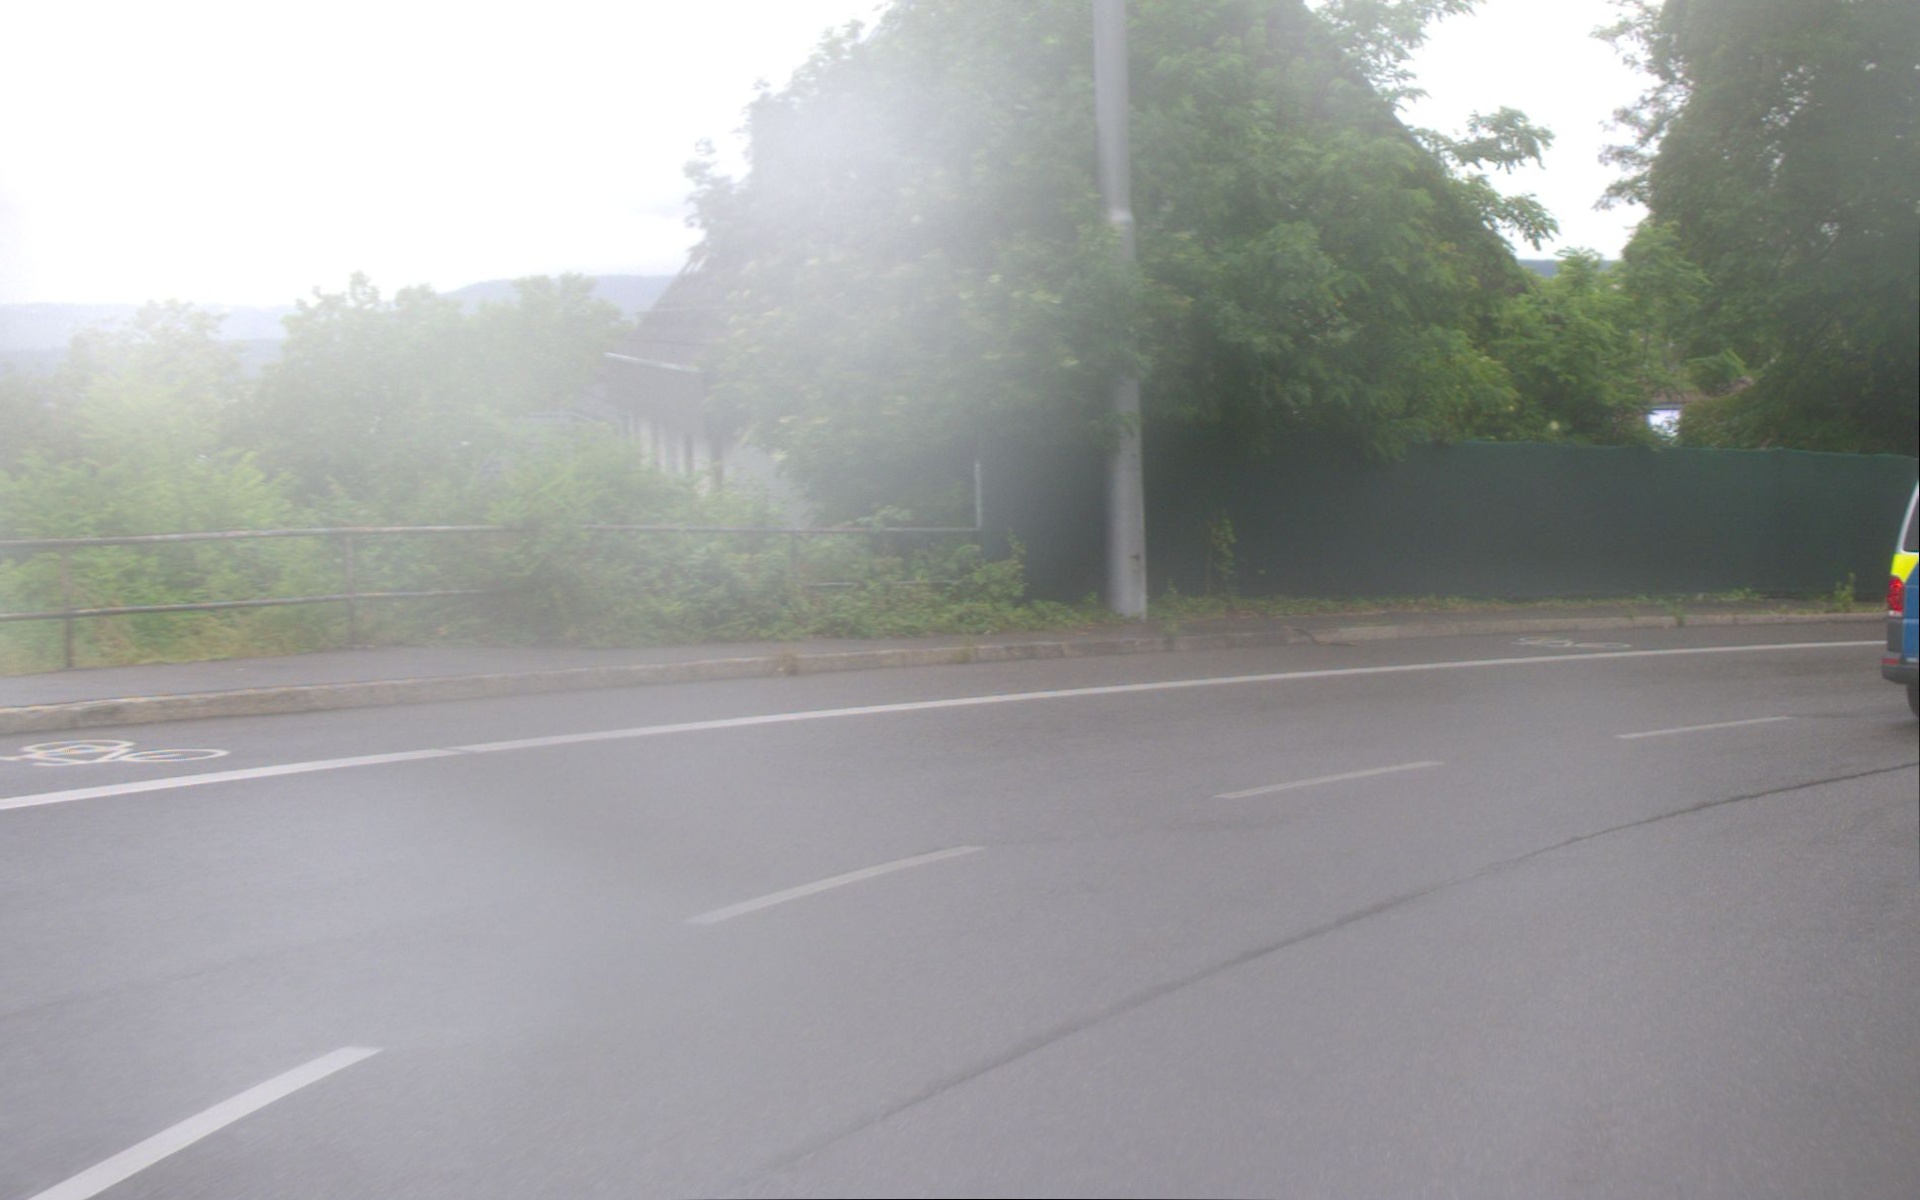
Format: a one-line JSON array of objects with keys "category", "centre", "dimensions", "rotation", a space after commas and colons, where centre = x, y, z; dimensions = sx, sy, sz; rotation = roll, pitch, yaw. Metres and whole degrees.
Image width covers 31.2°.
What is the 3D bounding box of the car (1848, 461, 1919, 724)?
[{"category": "car", "centre": [8.800, -0.004, 26.400], "dimensions": [1.998, 1.887, 4.559], "rotation": [5, 3, 39]}]
